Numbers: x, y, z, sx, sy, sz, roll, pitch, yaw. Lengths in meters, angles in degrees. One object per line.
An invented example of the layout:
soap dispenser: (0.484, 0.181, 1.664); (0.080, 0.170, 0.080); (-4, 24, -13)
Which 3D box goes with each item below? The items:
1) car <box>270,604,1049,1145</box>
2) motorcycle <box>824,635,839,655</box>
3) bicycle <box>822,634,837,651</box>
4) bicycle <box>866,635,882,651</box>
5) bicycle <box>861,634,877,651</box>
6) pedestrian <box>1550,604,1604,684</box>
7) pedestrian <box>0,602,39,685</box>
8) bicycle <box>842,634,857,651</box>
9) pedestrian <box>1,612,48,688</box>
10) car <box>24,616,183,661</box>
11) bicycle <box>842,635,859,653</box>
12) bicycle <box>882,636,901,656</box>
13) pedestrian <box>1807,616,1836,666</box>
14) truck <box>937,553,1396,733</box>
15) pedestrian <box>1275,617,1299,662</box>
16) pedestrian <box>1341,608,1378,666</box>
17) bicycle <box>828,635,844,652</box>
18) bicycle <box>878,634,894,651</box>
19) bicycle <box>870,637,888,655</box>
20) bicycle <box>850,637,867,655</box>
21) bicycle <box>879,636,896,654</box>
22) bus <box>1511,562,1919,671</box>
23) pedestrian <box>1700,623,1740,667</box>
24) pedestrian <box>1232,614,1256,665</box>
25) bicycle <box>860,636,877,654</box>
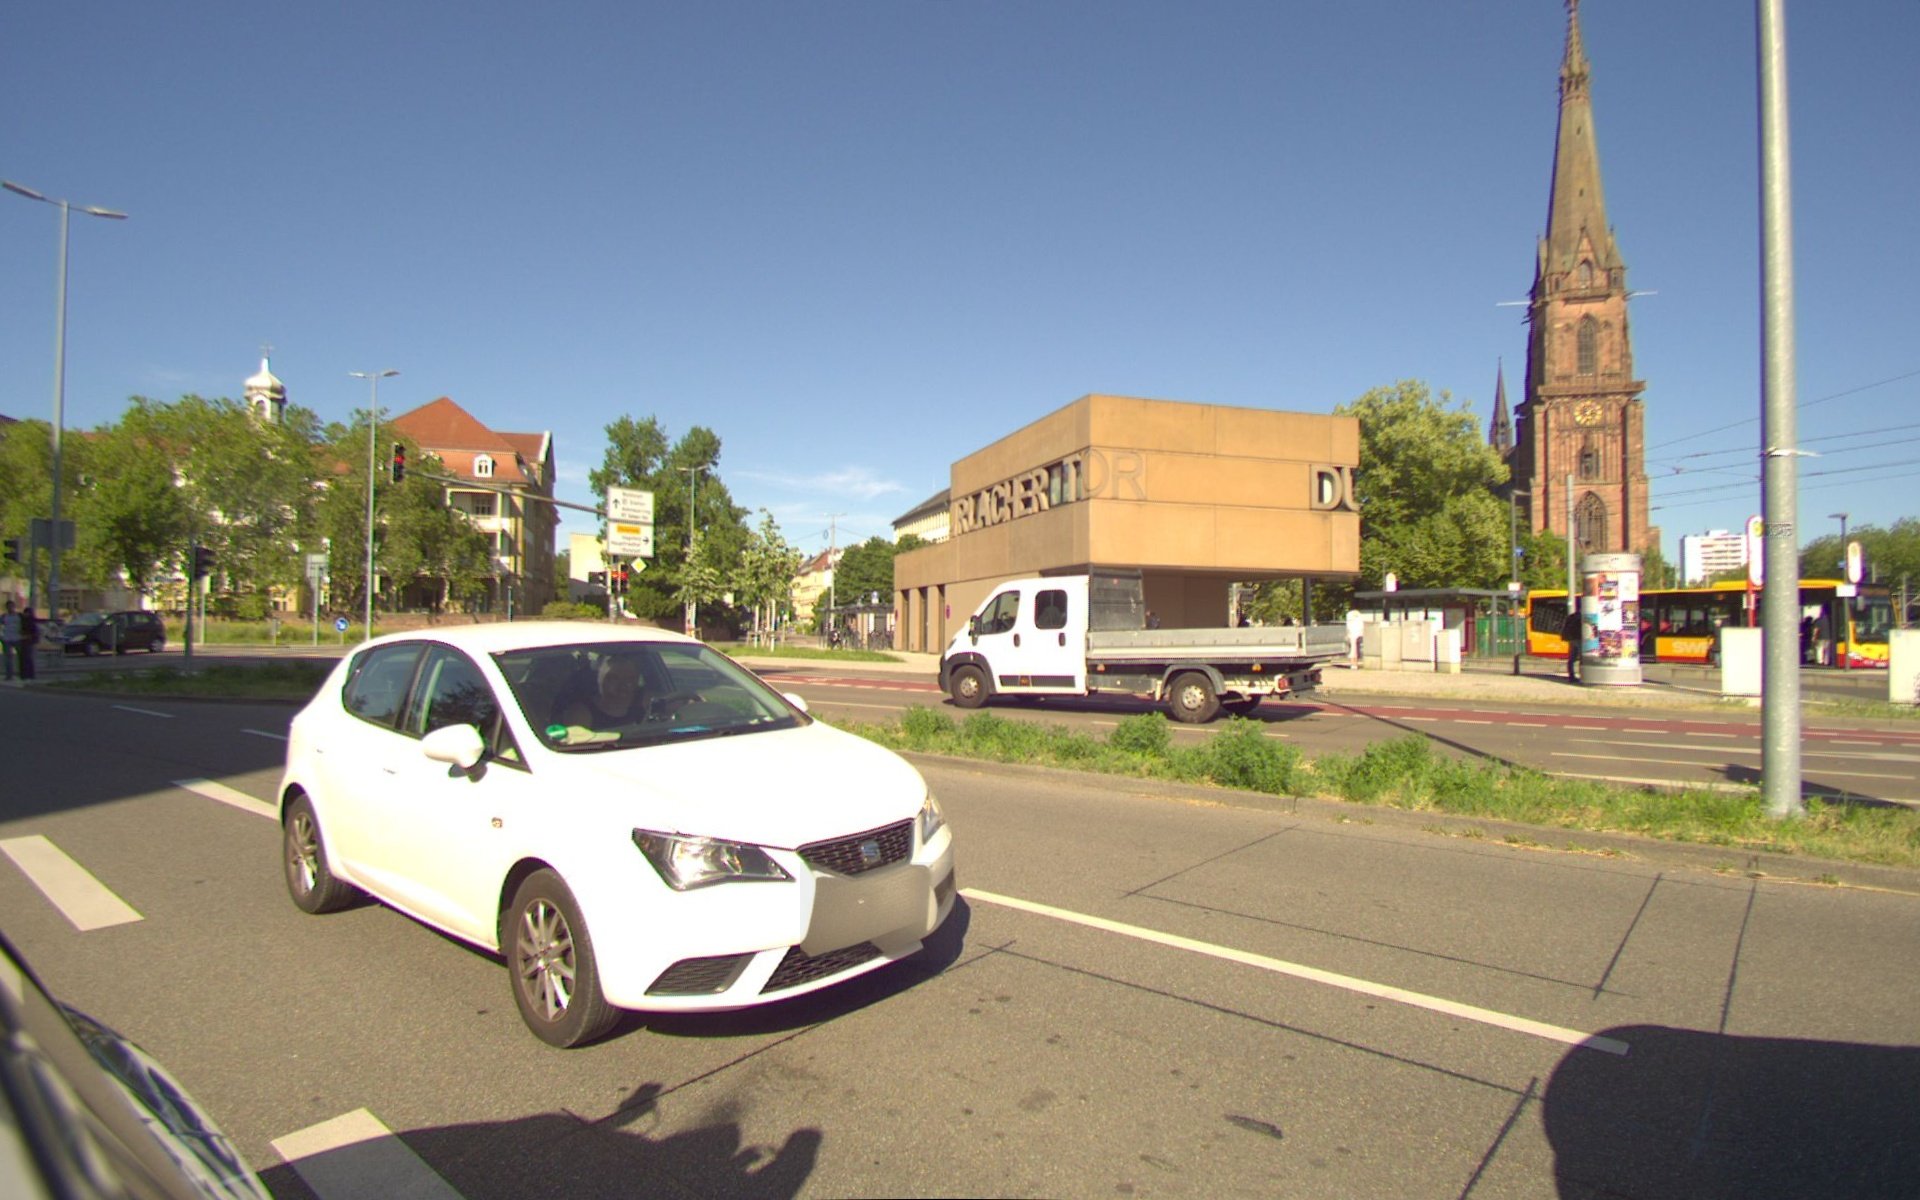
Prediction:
car: (-1.602, 0.776, 4.614); (3.735, 1.446, 1.673); (-1, -1, 41)
motorcycle: (-7.513, 2.611, 59.110); (0.585, 1.128, 1.991); (1, -2, -16)
bicycle: (-8.611, 2.804, 66.581); (0.558, 1.046, 1.794); (2, -2, -20)
bicycle: (-5.584, 2.772, 65.440); (0.558, 1.046, 1.794); (2, -2, -20)
bicycle: (-6.093, 2.833, 67.514); (0.558, 1.046, 1.794); (2, -2, -20)
pedestrian: (13.926, 0.972, 22.856); (0.778, 1.755, 0.648); (-1, 0, -5)
pedestrian: (-21.560, 0.971, 22.715); (0.748, 1.846, 1.092); (0, -1, 9)
bicycle: (-7.308, 2.795, 67.058); (0.558, 1.046, 1.794); (2, -2, -20)
pedestrian: (-20.375, 1.076, 22.056); (0.671, 1.624, 0.721); (1, -2, -38)
car: (-31.038, 1.423, 36.845); (1.975, 1.484, 4.290); (-2, -3, 5)
bicycle: (-6.574, 2.625, 60.846); (0.558, 1.046, 1.794); (2, -2, -20)
bicycle: (-3.795, 2.527, 56.027); (0.558, 1.046, 1.794); (2, -2, -20)
pedestrian: (26.689, 1.259, 31.350); (0.640, 1.547, 0.950); (-1, -2, 42)
truck: (2.992, 0.631, 16.042); (6.872, 2.331, 2.193); (-1, -2, 37)
pedestrian: (11.251, 1.353, 34.790); (0.509, 1.521, 0.739); (1, 0, 39)
pedestrian: (12.099, 1.111, 30.653); (0.777, 1.736, 0.649); (1, 0, -17)
bicycle: (-7.931, 2.769, 64.671); (0.558, 1.046, 1.794); (2, -2, -20)
bicycle: (-4.964, 2.846, 67.957); (0.558, 1.046, 1.794); (2, -2, -20)
bicycle: (-4.749, 2.703, 59.527); (0.558, 1.046, 1.794); (2, -2, -20)
bicycle: (-5.921, 2.679, 59.102); (0.558, 1.046, 1.794); (2, -2, -20)
bicycle: (-4.432, 2.730, 61.999); (0.558, 1.046, 1.794); (2, -2, -20)
bus: (26.380, 0.713, 36.744); (2.923, 3.240, 12.626); (1, -2, -18)
pedestrian: (24.486, 1.433, 32.614); (0.631, 1.404, 0.800); (0, -2, -2)
pedestrian: (10.142, 1.404, 36.091); (0.563, 1.789, 0.585); (-4, -4, 38)
bicycle: (-5.584, 2.745, 61.471); (0.558, 1.046, 1.794); (2, -2, -20)
